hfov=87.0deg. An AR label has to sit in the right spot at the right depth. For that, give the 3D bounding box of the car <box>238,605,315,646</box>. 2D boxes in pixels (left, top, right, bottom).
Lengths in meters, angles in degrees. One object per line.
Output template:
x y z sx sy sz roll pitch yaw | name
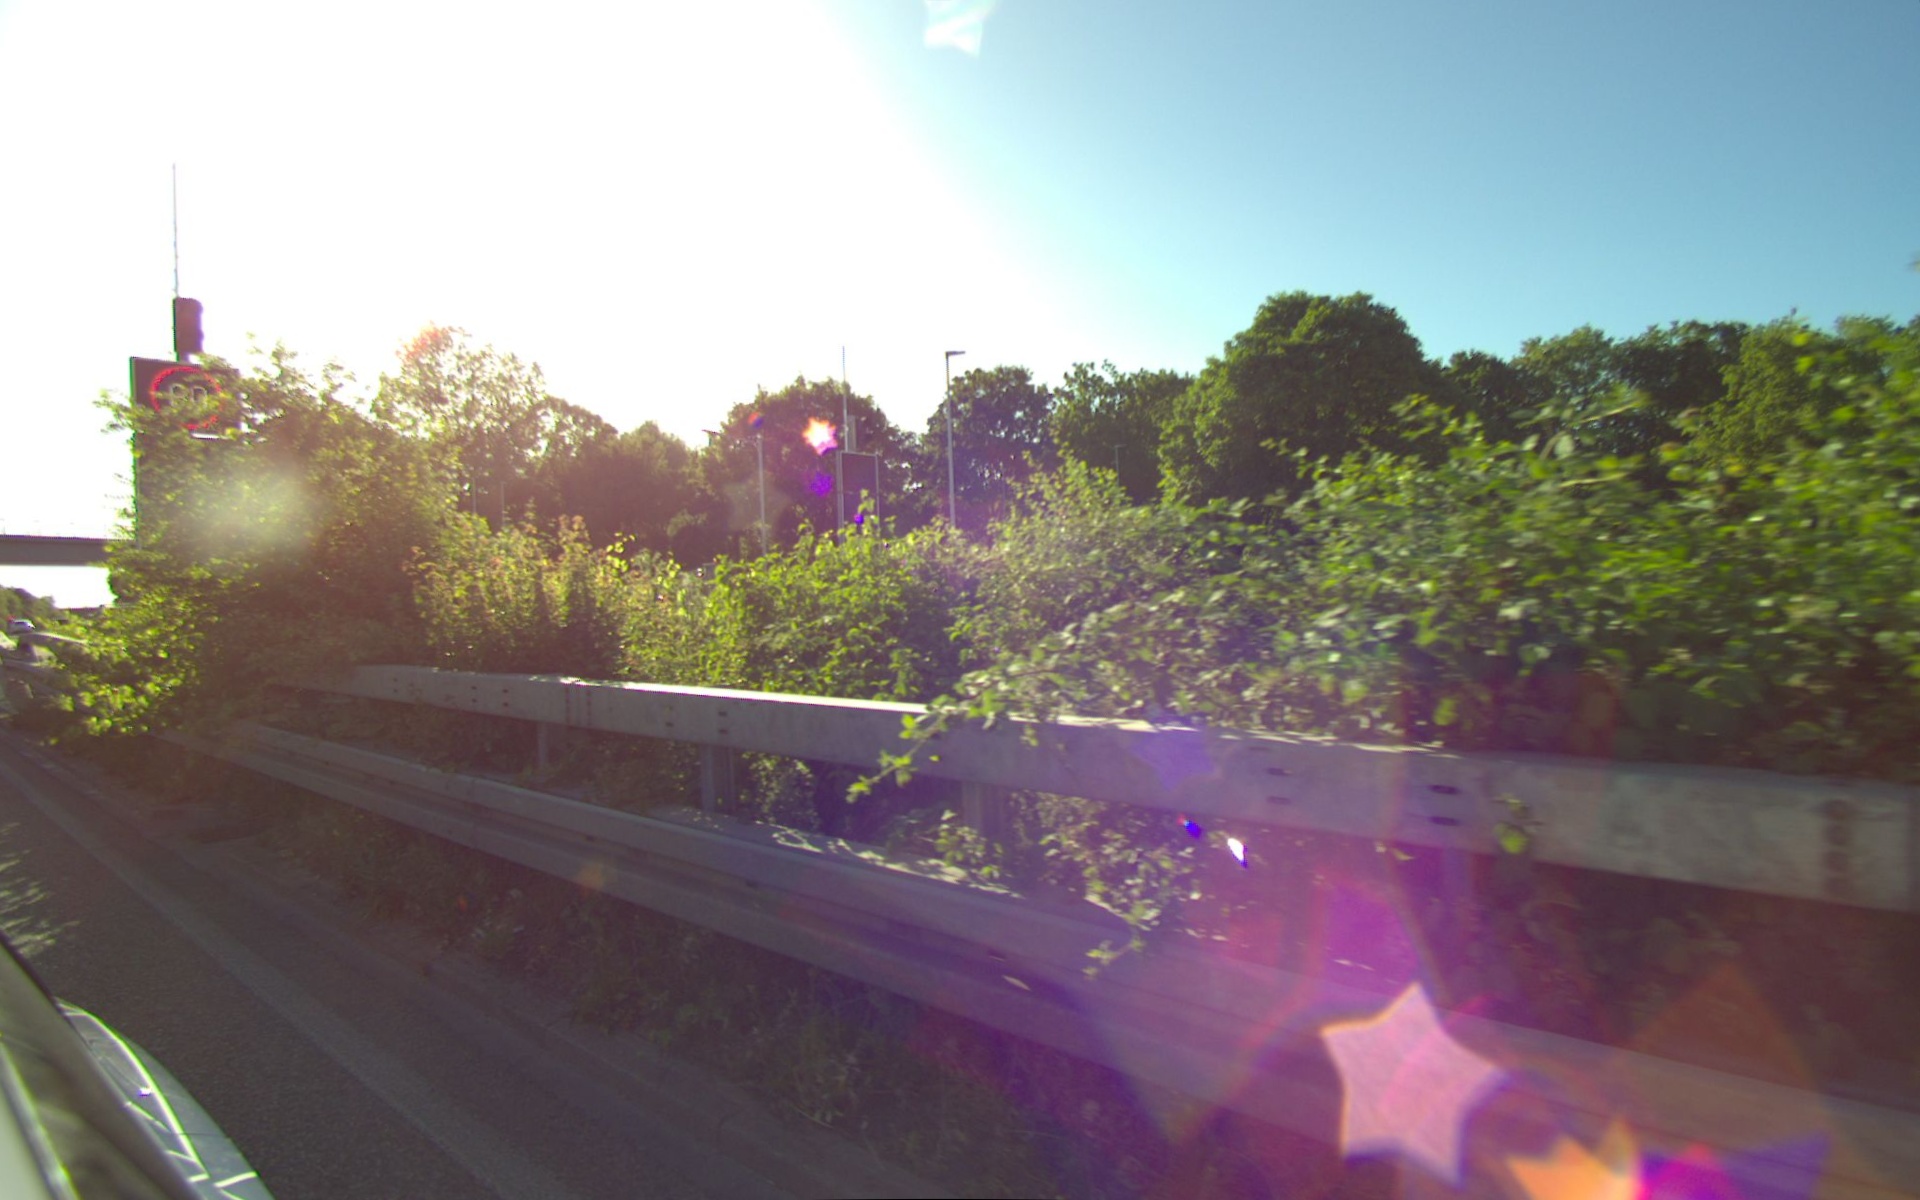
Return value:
-26.025 0.962 38.490 3.390 1.496 1.593 -2 -1 40 | car

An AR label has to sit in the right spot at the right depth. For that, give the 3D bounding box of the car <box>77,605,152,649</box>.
-33.941 1.050 40.606 4.163 1.586 1.698 0 2 42 | car

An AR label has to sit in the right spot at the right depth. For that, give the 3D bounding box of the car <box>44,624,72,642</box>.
-103.384 3.762 115.939 5.522 1.925 1.971 -2 -1 44 | car

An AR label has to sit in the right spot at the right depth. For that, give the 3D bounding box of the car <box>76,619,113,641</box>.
-65.937 2.250 77.096 4.321 1.584 1.654 -2 -1 43 | car

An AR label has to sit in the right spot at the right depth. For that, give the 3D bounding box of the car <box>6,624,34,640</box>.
-96.156 3.291 103.508 4.533 1.590 1.767 -2 -1 44 | car
